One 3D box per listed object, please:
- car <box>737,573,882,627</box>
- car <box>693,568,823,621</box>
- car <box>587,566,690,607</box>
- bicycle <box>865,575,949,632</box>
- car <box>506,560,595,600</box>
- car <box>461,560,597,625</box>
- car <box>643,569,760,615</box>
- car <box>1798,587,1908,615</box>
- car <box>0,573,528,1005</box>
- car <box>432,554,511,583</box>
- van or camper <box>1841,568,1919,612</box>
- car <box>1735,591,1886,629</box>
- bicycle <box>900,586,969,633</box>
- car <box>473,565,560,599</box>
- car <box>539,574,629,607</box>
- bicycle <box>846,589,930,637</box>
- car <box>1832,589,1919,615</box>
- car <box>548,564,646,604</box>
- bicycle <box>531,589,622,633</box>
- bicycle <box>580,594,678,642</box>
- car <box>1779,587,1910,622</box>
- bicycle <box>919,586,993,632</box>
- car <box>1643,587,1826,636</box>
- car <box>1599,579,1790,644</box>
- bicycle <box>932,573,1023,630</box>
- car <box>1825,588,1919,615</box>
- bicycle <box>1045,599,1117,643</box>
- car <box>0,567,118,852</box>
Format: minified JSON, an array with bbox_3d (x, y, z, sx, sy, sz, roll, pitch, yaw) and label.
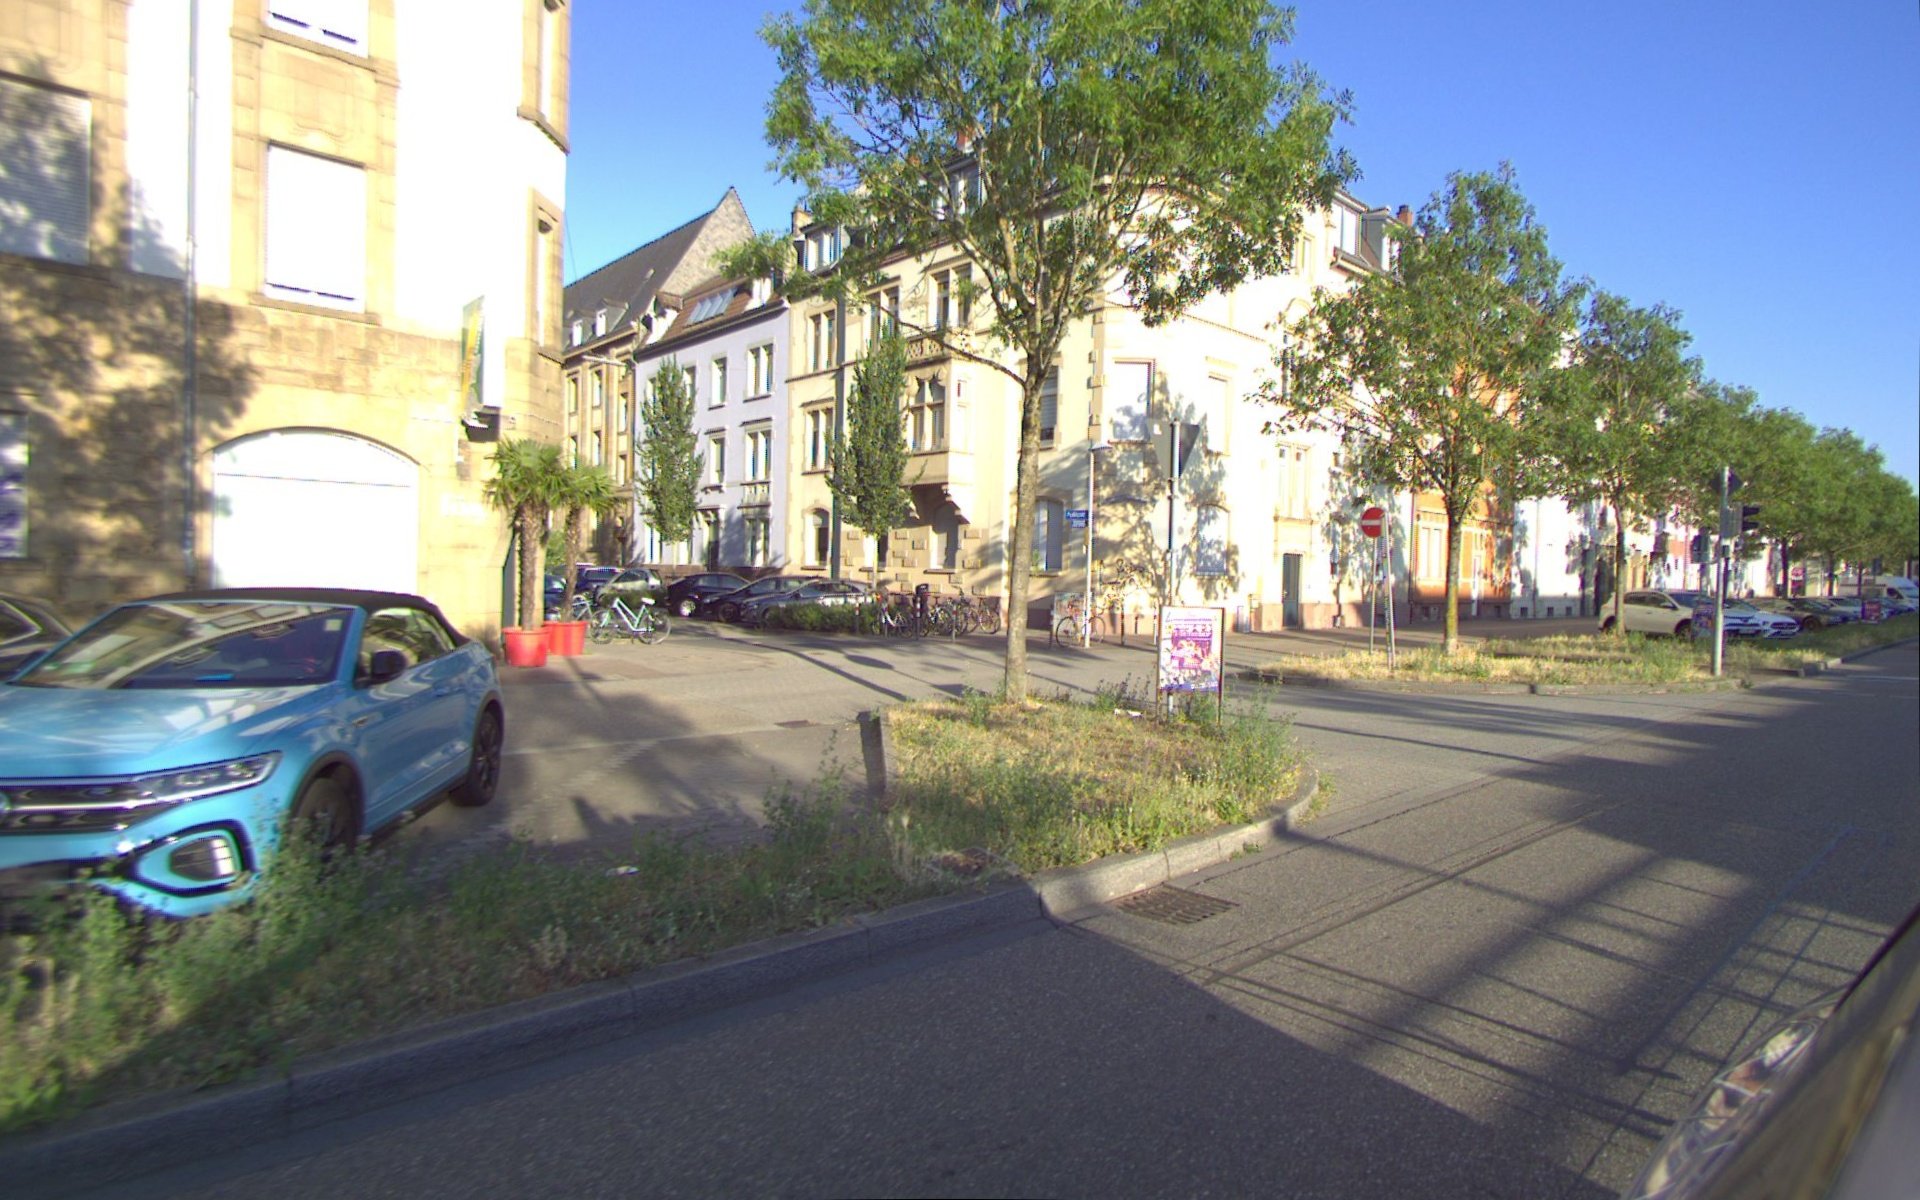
[{"bbox_3d":[-4.520,-0.011,30.221,4.113,1.511,1.872,1,1,-11],"label":"car"},{"bbox_3d":[-6.474,-0.178,32.402,3.793,1.596,1.872,1,1,-21],"label":"car"},{"bbox_3d":[-12.517,-0.516,39.329,3.634,1.492,1.872,1,1,-23],"label":"car"},{"bbox_3d":[-1.369,0.067,25.574,0.719,1.336,2.350,0,2,-45],"label":"bicycle"},{"bbox_3d":[-18.438,-0.901,45.646,3.634,1.688,1.872,1,1,-22],"label":"car"},{"bbox_3d":[-11.077,-0.222,25.887,1.965,1.485,3.993,3,0,-42],"label":"car"},{"bbox_3d":[-8.863,-0.276,34.648,3.634,1.492,1.872,1,1,-22],"label":"car"},{"bbox_3d":[49.125,0.028,55.812,1.847,1.434,4.441,1,1,-6],"label":"car"},{"bbox_3d":[-3.960,0.637,5.723,1.809,1.541,4.295,1,1,-9],"label":"car"},{"bbox_3d":[-27.602,-1.774,57.315,3.931,1.559,1.872,1,1,-22],"label":"car"},{"bbox_3d":[63.036,-0.697,67.951,2.158,2.847,5.662,1,1,-10],"label":"van or camper"},{"bbox_3d":[34.676,0.360,41.441,1.857,1.365,4.592,1,2,-9],"label":"car"},{"bbox_3d":[-0.677,0.228,26.213,0.566,1.138,1.973,0,2,-45],"label":"bicycle"},{"bbox_3d":[-20.548,-0.850,47.021,3.634,1.492,1.872,1,1,-22],"label":"car"},{"bbox_3d":[-16.201,-0.421,43.579,3.557,1.326,1.695,1,1,-22],"label":"car"},{"bbox_3d":[-1.793,0.298,24.876,0.719,1.063,2.329,0,2,-45],"label":"bicycle"},{"bbox_3d":[53.846,0.078,58.922,1.883,1.441,4.444,1,1,-10],"label":"car"},{"bbox_3d":[-14.752,-0.650,41.109,3.634,1.575,1.872,1,1,-22],"label":"car"},{"bbox_3d":[-8.782,0.242,23.234,1.845,0.959,0.632,1,0,-12],"label":"bicycle"},{"bbox_3d":[-6.913,0.382,21.143,1.846,0.959,0.631,1,0,-27],"label":"bicycle"},{"bbox_3d":[41.873,0.172,48.076,1.810,1.528,4.653,1,1,-7],"label":"car"},{"bbox_3d":[-0.122,0.218,26.548,0.530,1.119,2.206,0,2,-45],"label":"bicycle"},{"bbox_3d":[25.223,0.317,33.207,1.989,1.417,4.564,0,2,-11],"label":"car"},{"bbox_3d":[20.939,0.265,29.117,1.877,1.712,4.439,1,1,-7],"label":"car"},{"bbox_3d":[0.438,0.013,27.216,0.719,1.401,2.666,0,2,-45],"label":"bicycle"},{"bbox_3d":[51.569,0.052,57.025,1.691,1.455,4.061,0,1,-14],"label":"car"},{"bbox_3d":[2.734,0.457,22.773,1.852,0.882,0.461,-2,8,-42],"label":"bicycle"},{"bbox_3d":[-6.068,0.600,4.346,1.960,1.591,4.349,1,0,-12],"label":"car"}]
